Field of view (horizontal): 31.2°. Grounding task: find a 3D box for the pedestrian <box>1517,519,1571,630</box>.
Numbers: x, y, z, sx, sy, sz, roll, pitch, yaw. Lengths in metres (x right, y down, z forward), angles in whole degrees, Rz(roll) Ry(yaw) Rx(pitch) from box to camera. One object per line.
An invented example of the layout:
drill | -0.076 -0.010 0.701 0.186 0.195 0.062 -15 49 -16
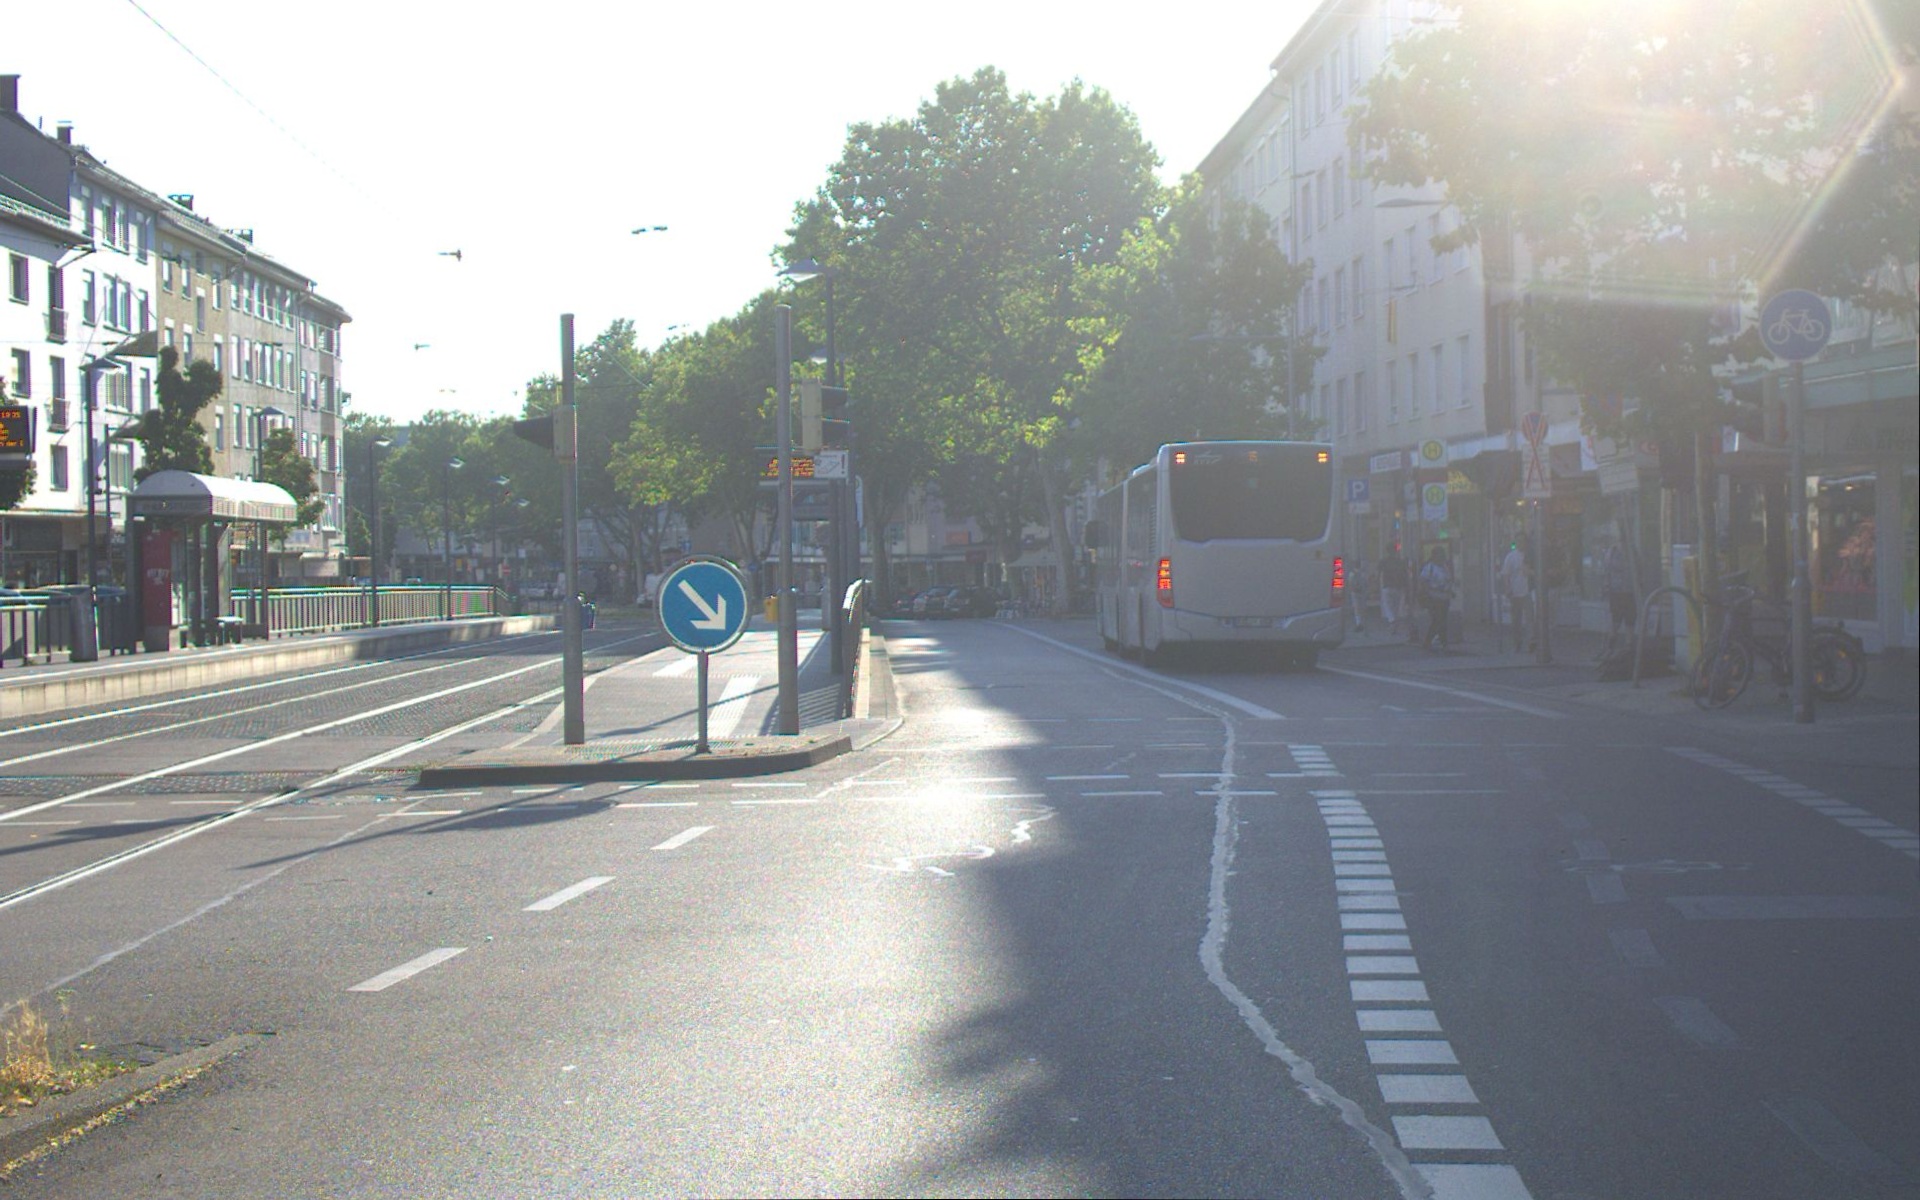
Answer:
pedestrian | 9.806 -0.423 57.735 0.723 1.834 0.766 -1 0 -1

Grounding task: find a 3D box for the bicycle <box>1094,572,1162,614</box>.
bicycle | 4.937 -0.210 100.929 1.887 1.073 0.754 -5 1 2

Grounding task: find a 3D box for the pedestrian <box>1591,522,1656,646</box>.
pedestrian | 9.306 -0.226 48.254 0.723 1.717 0.766 -1 0 -1

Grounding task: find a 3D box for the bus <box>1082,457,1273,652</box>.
bus | 3.630 -0.781 59.361 2.696 3.107 9.070 0 1 0

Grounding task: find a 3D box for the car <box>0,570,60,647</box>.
car | -22.285 0.217 77.480 1.769 1.674 3.503 0 2 37

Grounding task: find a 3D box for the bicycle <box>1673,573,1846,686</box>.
bicycle | 7.403 0.267 31.854 1.482 1.005 0.454 -1 1 -4

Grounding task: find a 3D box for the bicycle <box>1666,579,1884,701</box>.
bicycle | 7.388 0.355 31.185 1.798 1.005 0.541 -3 1 -4

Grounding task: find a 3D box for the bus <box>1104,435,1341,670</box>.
bus | 3.661 -0.680 50.109 2.696 3.107 9.382 0 1 0

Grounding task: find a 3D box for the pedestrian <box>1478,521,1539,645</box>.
pedestrian | 7.978 -0.251 50.002 0.723 1.773 0.766 -1 0 -1

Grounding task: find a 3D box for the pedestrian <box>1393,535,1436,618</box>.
pedestrian | 9.105 -0.473 68.913 0.723 1.627 0.766 -1 1 -1

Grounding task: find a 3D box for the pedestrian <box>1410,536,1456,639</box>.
pedestrian | 7.314 -0.199 53.202 0.610 1.573 0.851 -1 1 2

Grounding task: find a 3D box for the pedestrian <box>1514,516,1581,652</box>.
pedestrian | 7.942 -0.219 46.466 0.723 1.800 0.766 -1 0 -1
